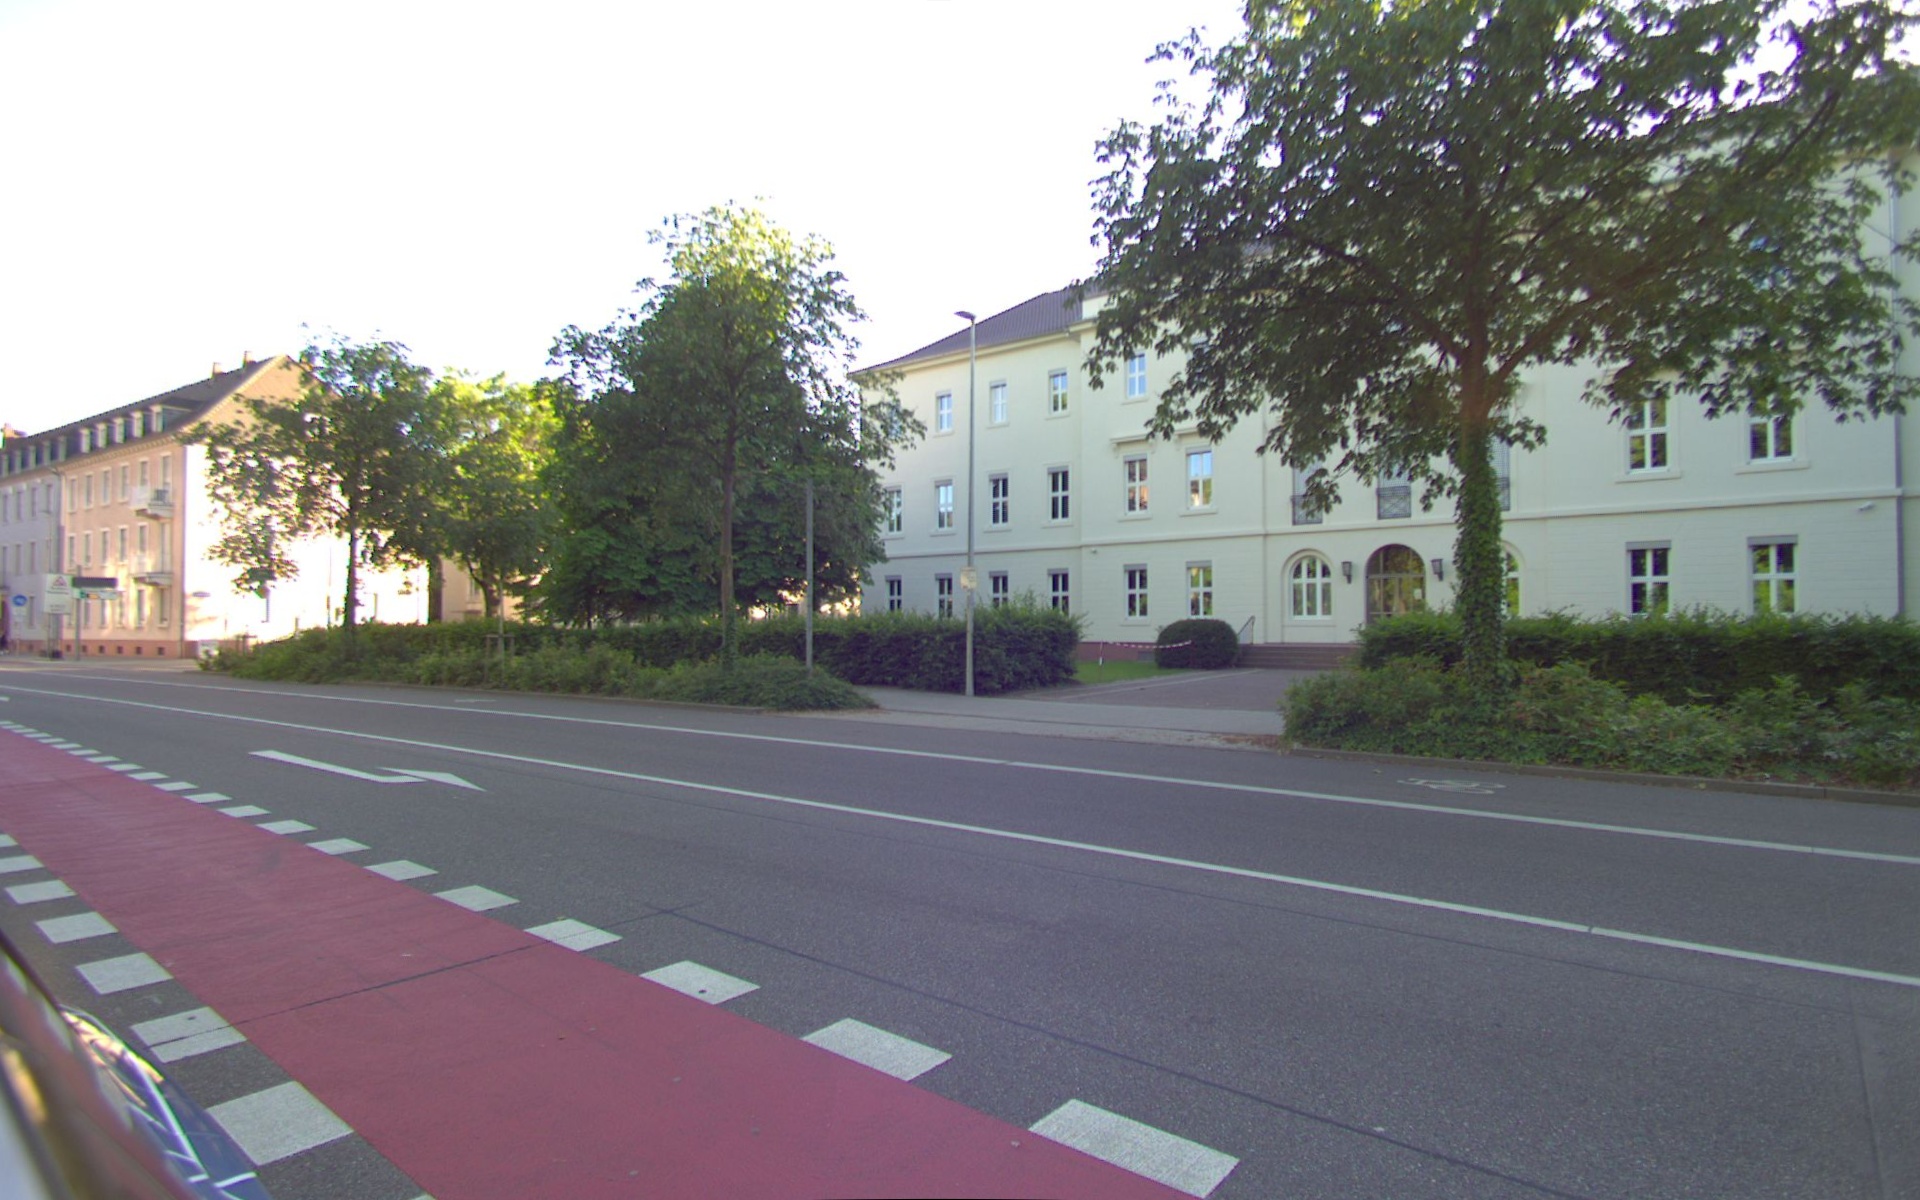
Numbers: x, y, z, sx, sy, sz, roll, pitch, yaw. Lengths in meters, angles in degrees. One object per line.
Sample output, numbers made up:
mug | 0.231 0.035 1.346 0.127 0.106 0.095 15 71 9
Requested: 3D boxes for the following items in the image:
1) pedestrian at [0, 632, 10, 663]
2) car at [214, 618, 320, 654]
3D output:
pedestrian | -61.633 3.054 64.828 1.060 1.919 0.938 -1 -1 33
car | -34.811 1.778 50.942 1.993 1.674 3.958 -1 -1 31
